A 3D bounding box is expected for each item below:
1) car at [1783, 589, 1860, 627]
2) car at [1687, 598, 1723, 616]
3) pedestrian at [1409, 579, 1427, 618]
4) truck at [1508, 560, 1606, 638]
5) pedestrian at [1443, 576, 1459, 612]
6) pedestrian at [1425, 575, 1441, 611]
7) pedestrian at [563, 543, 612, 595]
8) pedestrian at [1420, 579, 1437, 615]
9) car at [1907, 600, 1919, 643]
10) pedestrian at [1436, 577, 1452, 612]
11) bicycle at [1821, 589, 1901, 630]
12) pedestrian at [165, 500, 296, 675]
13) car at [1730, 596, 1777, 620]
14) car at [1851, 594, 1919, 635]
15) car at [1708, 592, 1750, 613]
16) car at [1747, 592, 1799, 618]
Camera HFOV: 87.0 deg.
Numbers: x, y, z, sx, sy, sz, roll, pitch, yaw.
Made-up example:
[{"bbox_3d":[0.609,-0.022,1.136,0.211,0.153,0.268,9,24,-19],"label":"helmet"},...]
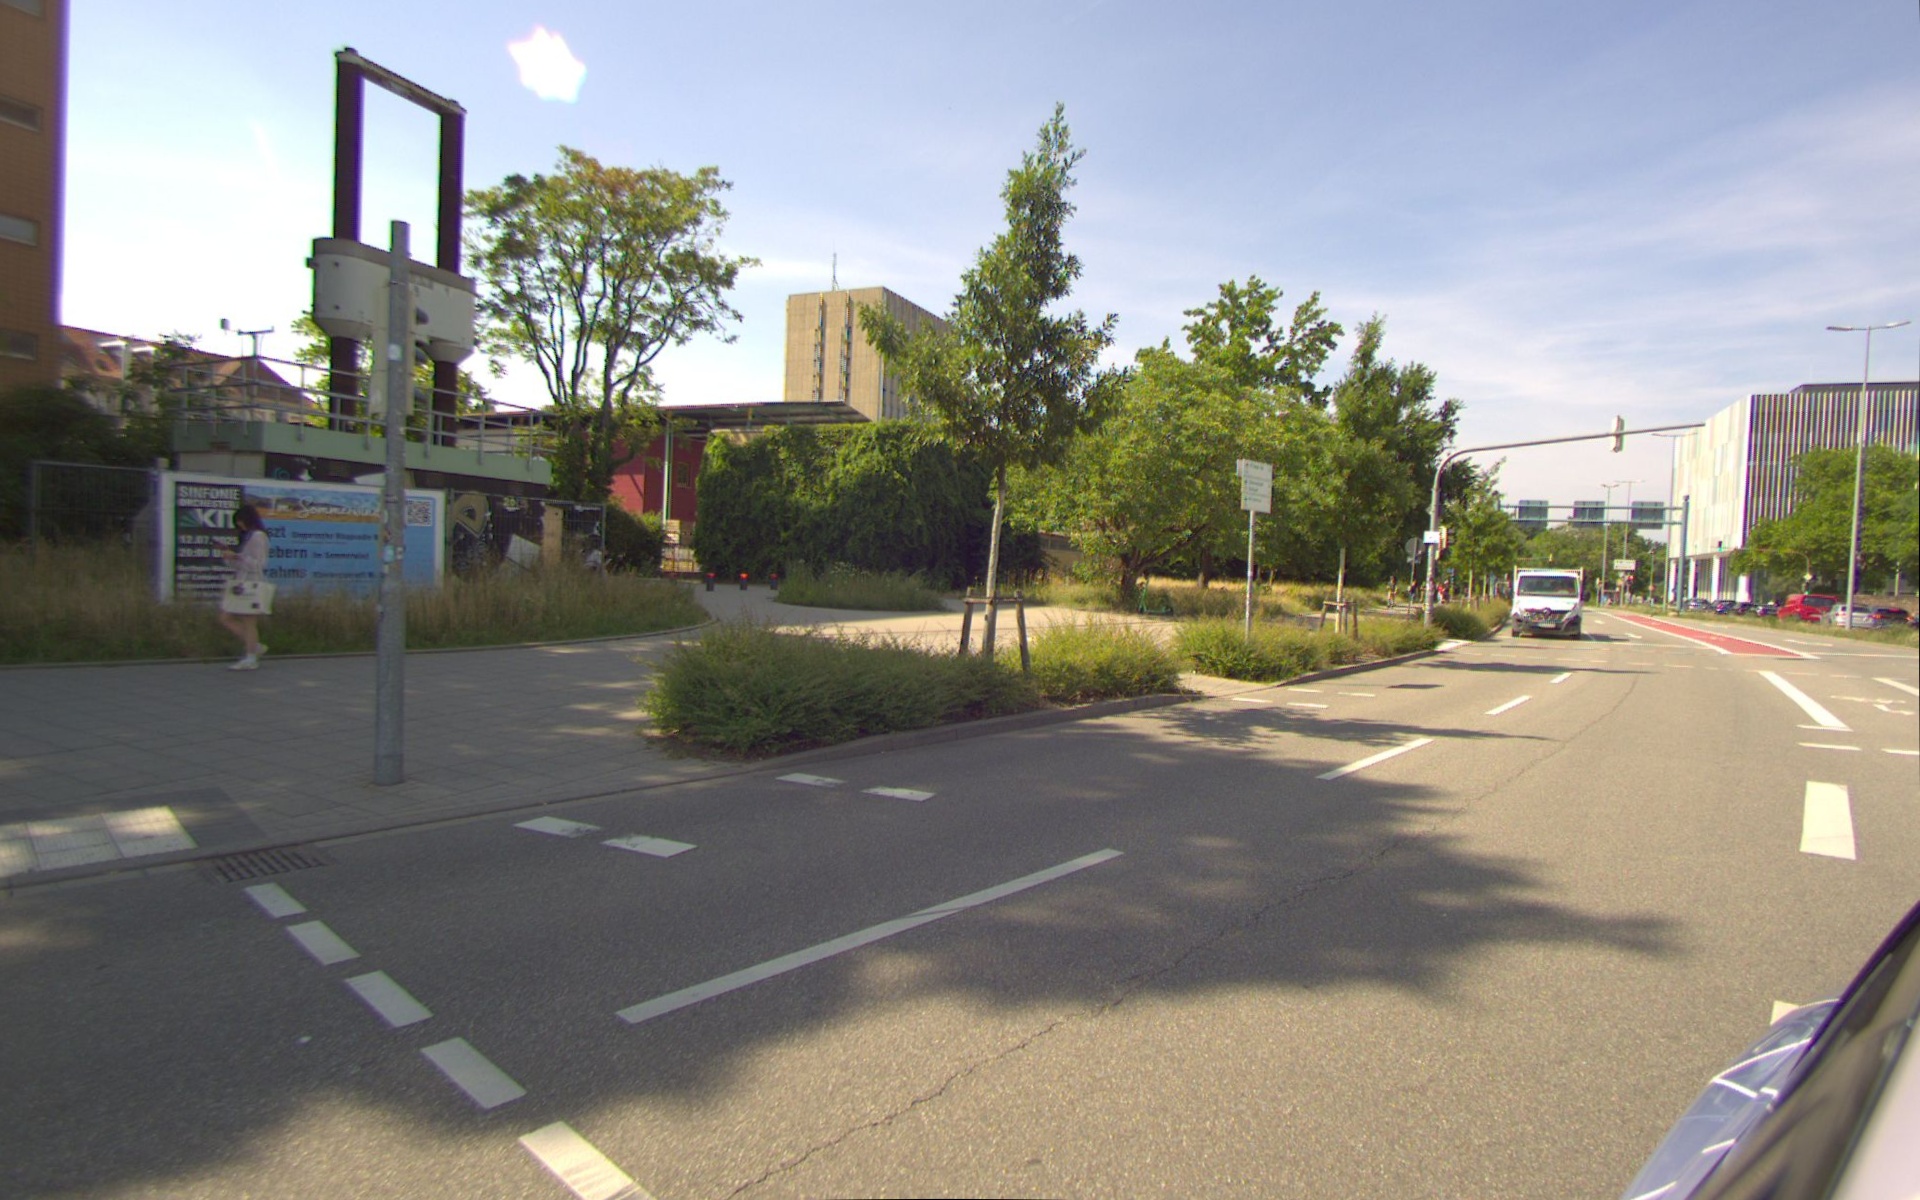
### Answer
[{"bbox_3d":[47.478,0.393,55.878,1.959,1.819,4.572,4,3,25],"label":"car"},{"bbox_3d":[67.101,0.591,91.213,1.781,1.529,3.967,1,1,24],"label":"car"},{"bbox_3d":[31.148,-0.106,68.799,0.945,2.565,1.113,3,-1,27],"label":"pedestrian"},{"bbox_3d":[20.539,-0.112,35.103,2.390,2.384,6.983,2,2,27],"label":"truck"},{"bbox_3d":[36.282,-0.427,74.838,0.945,2.565,1.113,3,-1,27],"label":"pedestrian"},{"bbox_3d":[35.322,-0.530,75.599,0.945,2.565,1.113,3,-1,27],"label":"pedestrian"},{"bbox_3d":[-9.192,-0.765,25.012,0.752,1.229,0.786,3,0,33],"label":"pedestrian"},{"bbox_3d":[34.452,-0.195,74.434,0.945,2.565,1.113,3,-1,27],"label":"pedestrian"},{"bbox_3d":[46.477,1.051,47.411,1.982,2.039,3.960,3,0,28],"label":"car"},{"bbox_3d":[36.605,-0.388,76.470,0.945,2.565,1.113,3,-1,27],"label":"pedestrian"},{"bbox_3d":[44.800,0.440,50.433,1.982,1.837,3.961,3,2,28],"label":"bicycle"},{"bbox_3d":[-7.061,-0.135,9.810,0.686,1.598,0.806,3,2,28],"label":"pedestrian"},{"bbox_3d":[55.968,0.522,71.453,1.782,1.529,3.964,1,1,26],"label":"car"},{"bbox_3d":[49.519,0.793,53.981,1.982,2.039,3.960,3,0,28],"label":"car"},{"bbox_3d":[60.621,0.188,79.827,1.781,1.529,3.967,1,1,24],"label":"car"},{"bbox_3d":[52.493,0.306,65.398,1.782,1.529,3.964,1,1,26],"label":"car"}]
